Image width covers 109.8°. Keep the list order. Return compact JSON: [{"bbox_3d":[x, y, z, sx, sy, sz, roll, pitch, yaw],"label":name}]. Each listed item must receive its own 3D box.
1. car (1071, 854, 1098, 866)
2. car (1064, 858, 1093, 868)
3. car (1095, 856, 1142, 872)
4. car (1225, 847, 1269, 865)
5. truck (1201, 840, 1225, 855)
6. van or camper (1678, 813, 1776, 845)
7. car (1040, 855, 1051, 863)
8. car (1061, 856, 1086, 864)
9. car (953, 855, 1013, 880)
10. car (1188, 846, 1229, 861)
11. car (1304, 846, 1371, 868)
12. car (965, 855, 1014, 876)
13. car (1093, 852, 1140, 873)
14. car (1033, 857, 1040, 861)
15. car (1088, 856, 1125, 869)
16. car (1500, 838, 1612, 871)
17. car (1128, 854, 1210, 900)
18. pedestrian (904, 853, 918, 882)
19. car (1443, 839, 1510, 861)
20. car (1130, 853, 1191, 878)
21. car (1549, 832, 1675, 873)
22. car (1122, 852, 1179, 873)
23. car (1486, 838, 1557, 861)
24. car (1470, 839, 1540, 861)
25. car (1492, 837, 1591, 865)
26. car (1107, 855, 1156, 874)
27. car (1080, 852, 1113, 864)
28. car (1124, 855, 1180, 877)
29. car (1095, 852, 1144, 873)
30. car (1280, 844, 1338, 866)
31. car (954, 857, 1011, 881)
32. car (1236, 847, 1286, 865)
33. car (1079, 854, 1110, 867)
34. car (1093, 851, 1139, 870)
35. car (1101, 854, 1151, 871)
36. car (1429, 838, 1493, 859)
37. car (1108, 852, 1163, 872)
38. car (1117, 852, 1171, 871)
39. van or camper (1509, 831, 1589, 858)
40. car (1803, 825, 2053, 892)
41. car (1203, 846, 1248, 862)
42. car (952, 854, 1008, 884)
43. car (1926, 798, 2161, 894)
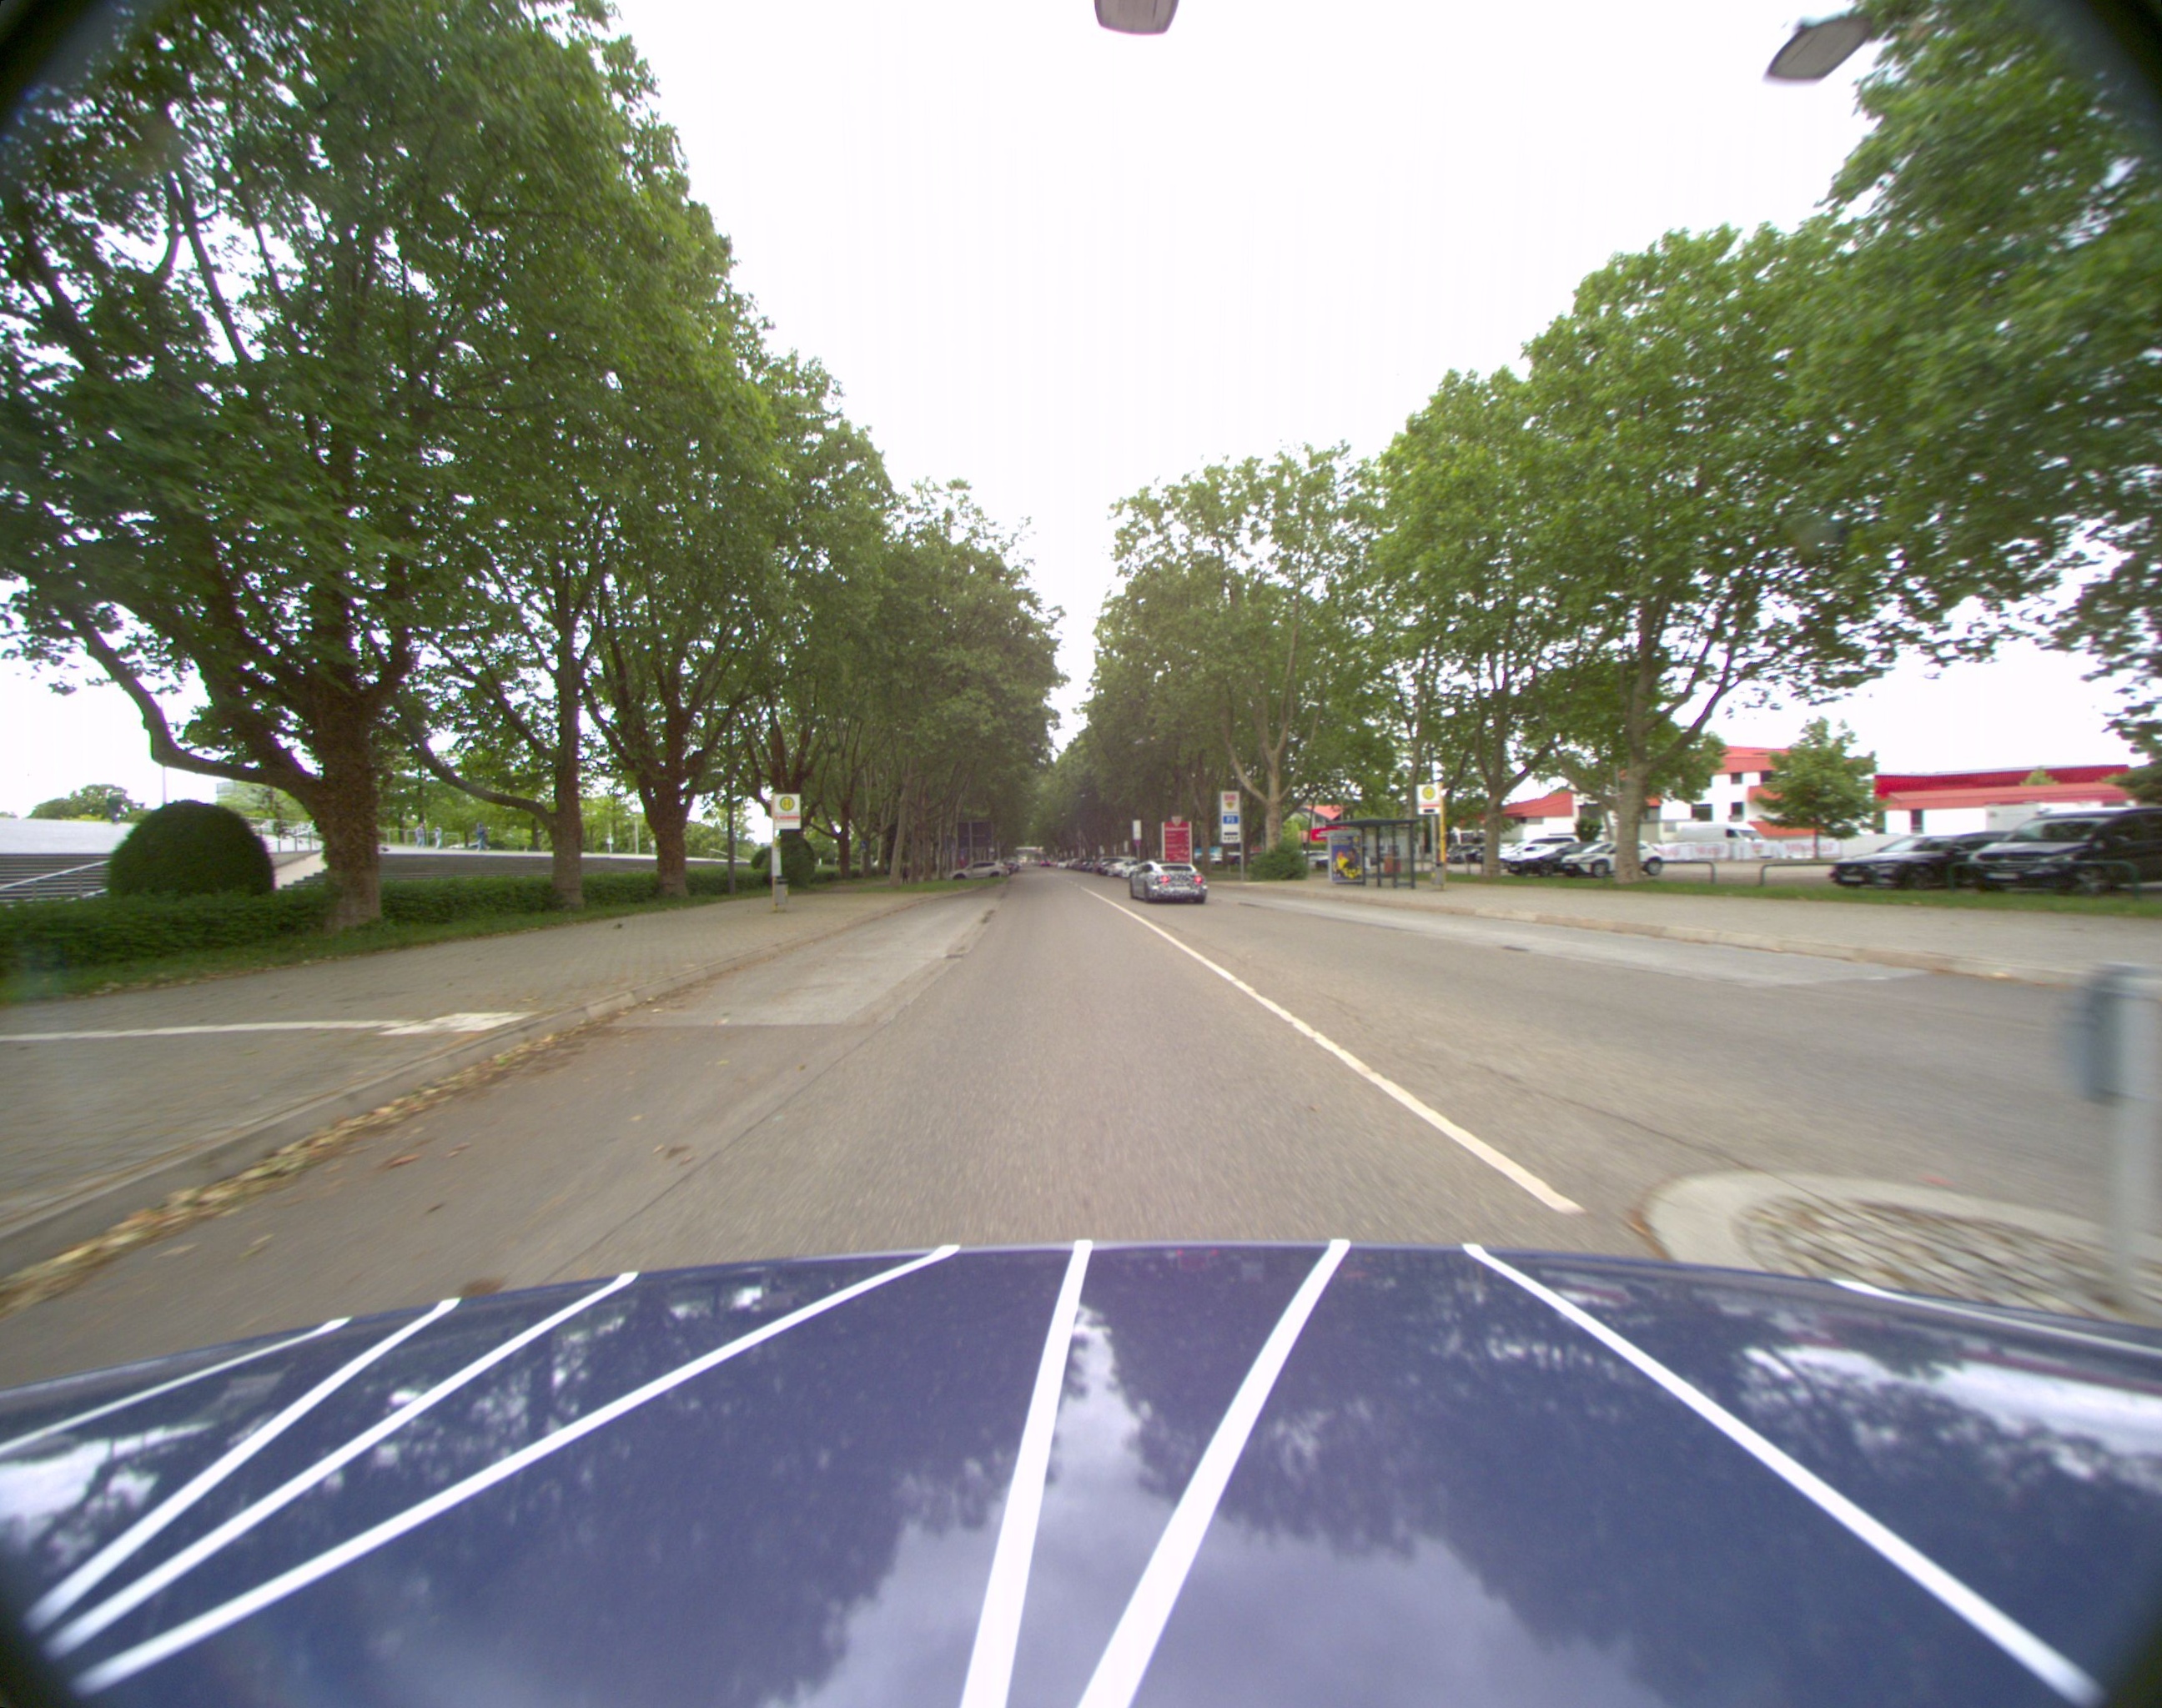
[{"bbox_3d":[0.510,0.905,116.018,3.998,1.672,1.855,-2,1,-3],"label":"car"},{"bbox_3d":[-0.423,1.320,108.306,4.005,1.412,1.702,0,0,-6],"label":"car"},{"bbox_3d":[3.476,0.949,70.958,4.140,1.443,2.013,1,0,-2],"label":"car"},{"bbox_3d":[18.737,0.176,85.924,4.333,1.850,2.027,-2,1,-5],"label":"car"},{"bbox_3d":[25.713,-1.336,147.822,3.999,2.701,2.375,-2,1,-5],"label":"truck"},{"bbox_3d":[45.028,-1.698,53.123,1.999,2.002,5.300,-2,1,-5],"label":"van or camper"},{"bbox_3d":[-7.019,1.040,148.849,1.848,1.501,4.013,-2,1,-6],"label":"car"},{"bbox_3d":[-1.355,1.068,134.908,4.421,1.416,1.775,0,0,-6],"label":"car"},{"bbox_3d":[-7.393,0.995,57.796,4.358,1.624,1.925,-3,0,-4],"label":"car"},{"bbox_3d":[16.893,-0.035,100.915,4.956,1.786,2.182,-2,1,-7],"label":"car"},{"bbox_3d":[19.861,0.211,58.941,4.333,1.539,2.202,-2,1,-5],"label":"car"},{"bbox_3d":[-8.368,1.021,70.026,4.359,1.750,1.924,-2,0,-5],"label":"car"},{"bbox_3d":[3.390,0.785,73.398,4.330,1.785,2.036,-2,1,-4],"label":"car"},{"bbox_3d":[-15.272,1.635,258.009,2.000,1.375,4.676,-4,0,-7],"label":"car"},{"bbox_3d":[2.766,0.960,83.551,3.989,1.412,1.755,1,0,-1],"label":"car"},{"bbox_3d":[21.959,0.009,35.217,3.998,1.316,2.001,-2,1,-5],"label":"car"},{"bbox_3d":[2.945,0.750,26.492,1.906,1.444,4.812,0,0,-5],"label":"car"},{"bbox_3d":[-11.975,0.951,53.495,0.788,2.002,0.598,-3,1,-20],"label":"pedestrian"},{"bbox_3d":[31.529,-0.332,60.570,4.333,1.539,1.958,-2,1,-5],"label":"car"},{"bbox_3d":[5.575,0.792,53.460,4.005,1.531,1.804,-2,1,-3],"label":"car"},{"bbox_3d":[22.664,-0.072,32.528,3.998,1.514,2.001,-2,1,-4],"label":"car"},{"bbox_3d":[5.063,0.592,55.837,4.004,1.377,1.911,-2,1,-1],"label":"car"},{"bbox_3d":[32.302,-0.342,55.774,4.230,1.539,1.789,-2,1,-6],"label":"car"},{"bbox_3d":[32.389,-0.312,58.095,4.333,1.539,1.958,-2,1,-5],"label":"car"},{"bbox_3d":[28.537,-0.178,47.291,4.966,1.543,2.103,-2,1,23],"label":"car"},{"bbox_3d":[4.386,0.914,66.109,3.999,1.396,1.884,-2,1,-5],"label":"car"},{"bbox_3d":[1.867,0.521,93.375,3.942,1.390,1.702,0,0,-6],"label":"car"},{"bbox_3d":[5.448,0.877,58.407,4.005,1.485,1.831,-2,1,-4],"label":"car"},{"bbox_3d":[3.468,0.767,68.937,4.330,1.799,1.867,0,0,-4],"label":"car"},{"bbox_3d":[19.832,0.108,66.235,4.333,1.699,2.131,-2,1,-5],"label":"car"},{"bbox_3d":[-7.791,1.180,60.394,4.358,1.595,1.925,-3,0,-4],"label":"car"},{"bbox_3d":[19.063,0.160,80.673,4.565,1.715,2.295,-2,1,-5],"label":"car"},{"bbox_3d":[1.836,0.920,101.285,3.942,1.698,1.751,0,0,-6],"label":"car"},{"bbox_3d":[3.484,0.647,75.925,4.331,1.799,1.866,0,0,-8],"label":"car"},{"bbox_3d":[4.038,0.743,68.566,4.202,1.346,1.966,-2,1,-6],"label":"car"},{"bbox_3d":[31.432,-0.417,62.890,4.333,1.539,1.958,-2,1,-5],"label":"car"},{"bbox_3d":[4.530,0.669,63.489,4.277,1.539,1.907,1,0,-6],"label":"car"},{"bbox_3d":[5.031,0.582,60.775,3.998,1.397,1.861,-2,1,-4],"label":"car"},{"bbox_3d":[32.868,-0.646,53.397,4.333,1.699,2.131,-2,1,-5],"label":"van or camper"},{"bbox_3d":[23.123,0.087,20.881,4.638,1.559,2.108,-2,1,-2],"label":"car"},{"bbox_3d":[17.666,0.024,93.196,4.956,1.786,2.182,-2,0,-7],"label":"car"},{"bbox_3d":[-7.596,1.149,57.551,3.998,2.002,1.999,-3,0,-4],"label":"car"},{"bbox_3d":[23.483,-0.221,17.933,4.629,2.014,2.262,-2,1,-2],"label":"car"}]
